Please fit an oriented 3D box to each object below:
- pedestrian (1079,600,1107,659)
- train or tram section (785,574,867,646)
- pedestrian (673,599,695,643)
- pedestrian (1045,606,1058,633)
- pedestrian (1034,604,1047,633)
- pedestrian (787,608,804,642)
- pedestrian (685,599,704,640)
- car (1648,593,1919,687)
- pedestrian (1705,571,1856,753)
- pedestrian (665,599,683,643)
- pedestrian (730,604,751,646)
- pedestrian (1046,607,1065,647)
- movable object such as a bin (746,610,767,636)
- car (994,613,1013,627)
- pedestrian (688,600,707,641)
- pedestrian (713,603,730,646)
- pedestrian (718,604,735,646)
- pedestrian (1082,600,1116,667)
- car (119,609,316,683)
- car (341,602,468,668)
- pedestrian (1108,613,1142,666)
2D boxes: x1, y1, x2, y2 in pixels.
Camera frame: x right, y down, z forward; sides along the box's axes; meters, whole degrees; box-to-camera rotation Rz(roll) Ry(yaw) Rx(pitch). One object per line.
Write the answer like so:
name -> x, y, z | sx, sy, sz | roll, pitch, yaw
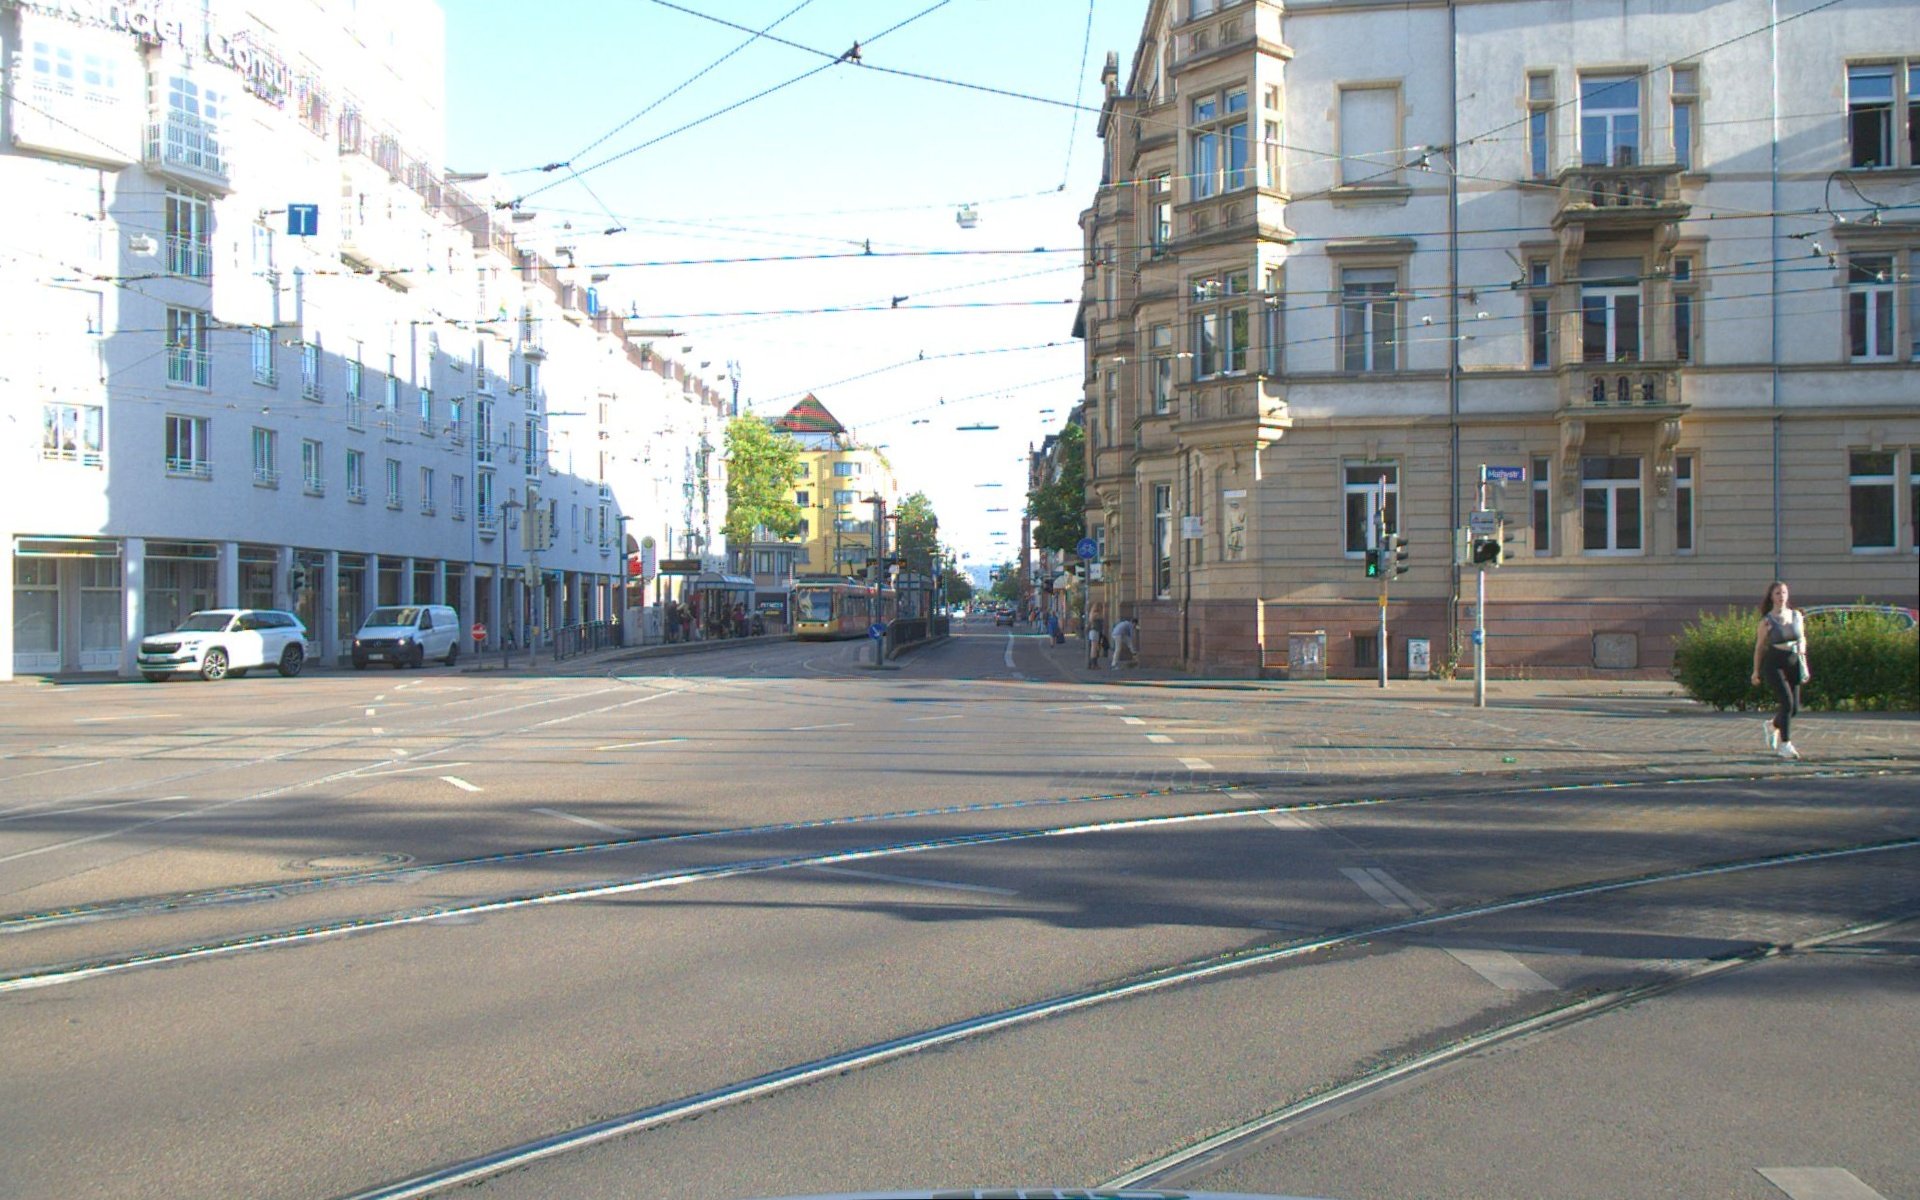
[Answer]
pedestrian -> 4.313, 0.950, 53.646 | 0.784, 1.856, 0.797 | -2, 0, 1
train or tram section -> -7.274, 0.581, 91.709 | 2.825, 3.551, 14.170 | -2, -1, 2
pedestrian -> -11.235, 0.866, 67.366 | 0.752, 1.763, 0.517 | -1, -1, 43
pedestrian -> 5.876, 1.244, 106.162 | 0.699, 1.630, 0.773 | -3, 0, -2
pedestrian -> 5.161, 1.209, 105.860 | 0.699, 1.805, 0.773 | -3, 0, -2
pedestrian -> -9.611, 1.457, 96.628 | 0.863, 1.938, 0.931 | 0, -1, -15
pedestrian -> -11.147, 0.828, 69.462 | 0.686, 1.721, 0.667 | 0, -1, -22
car -> 15.227, 0.731, 30.731 | 4.167, 1.661, 1.946 | 0, -1, 10
pedestrian -> 8.558, 0.627, 17.299 | 1.002, 1.838, 1.083 | -1, 0, -2
pedestrian -> -11.271, 0.835, 65.254 | 0.586, 1.721, 0.613 | 0, -1, 1
pedestrian -> -10.280, 1.171, 77.440 | 0.913, 1.938, 0.881 | 0, -1, -1
pedestrian -> 4.121, 1.161, 71.350 | 0.747, 1.674, 0.832 | -2, 0, 1
movable object such as a bin -> -10.289, 1.172, 83.594 | 0.918, 1.309, 0.934 | 0, -1, -1
car -> 4.719, 2.164, 179.769 | 1.952, 1.475, 4.000 | 0, 0, 1
pedestrian -> -11.314, 0.881, 71.239 | 0.686, 1.721, 0.667 | 0, -1, -22
pedestrian -> -10.872, 1.128, 75.328 | 0.681, 1.938, 0.672 | 0, -1, -1
pedestrian -> -10.697, 1.140, 75.884 | 0.681, 1.938, 0.672 | 0, -1, -1
pedestrian -> 3.719, 0.900, 44.204 | 0.778, 1.751, 0.719 | -2, -2, -1
car -> -17.762, 1.062, 39.810 | 1.951, 1.648, 4.514 | -1, 0, 14
car -> -16.690, 1.005, 50.004 | 1.952, 1.870, 5.347 | -1, 0, 1
pedestrian -> 4.338, 1.036, 43.434 | 0.778, 1.355, 0.719 | -2, -2, -1
